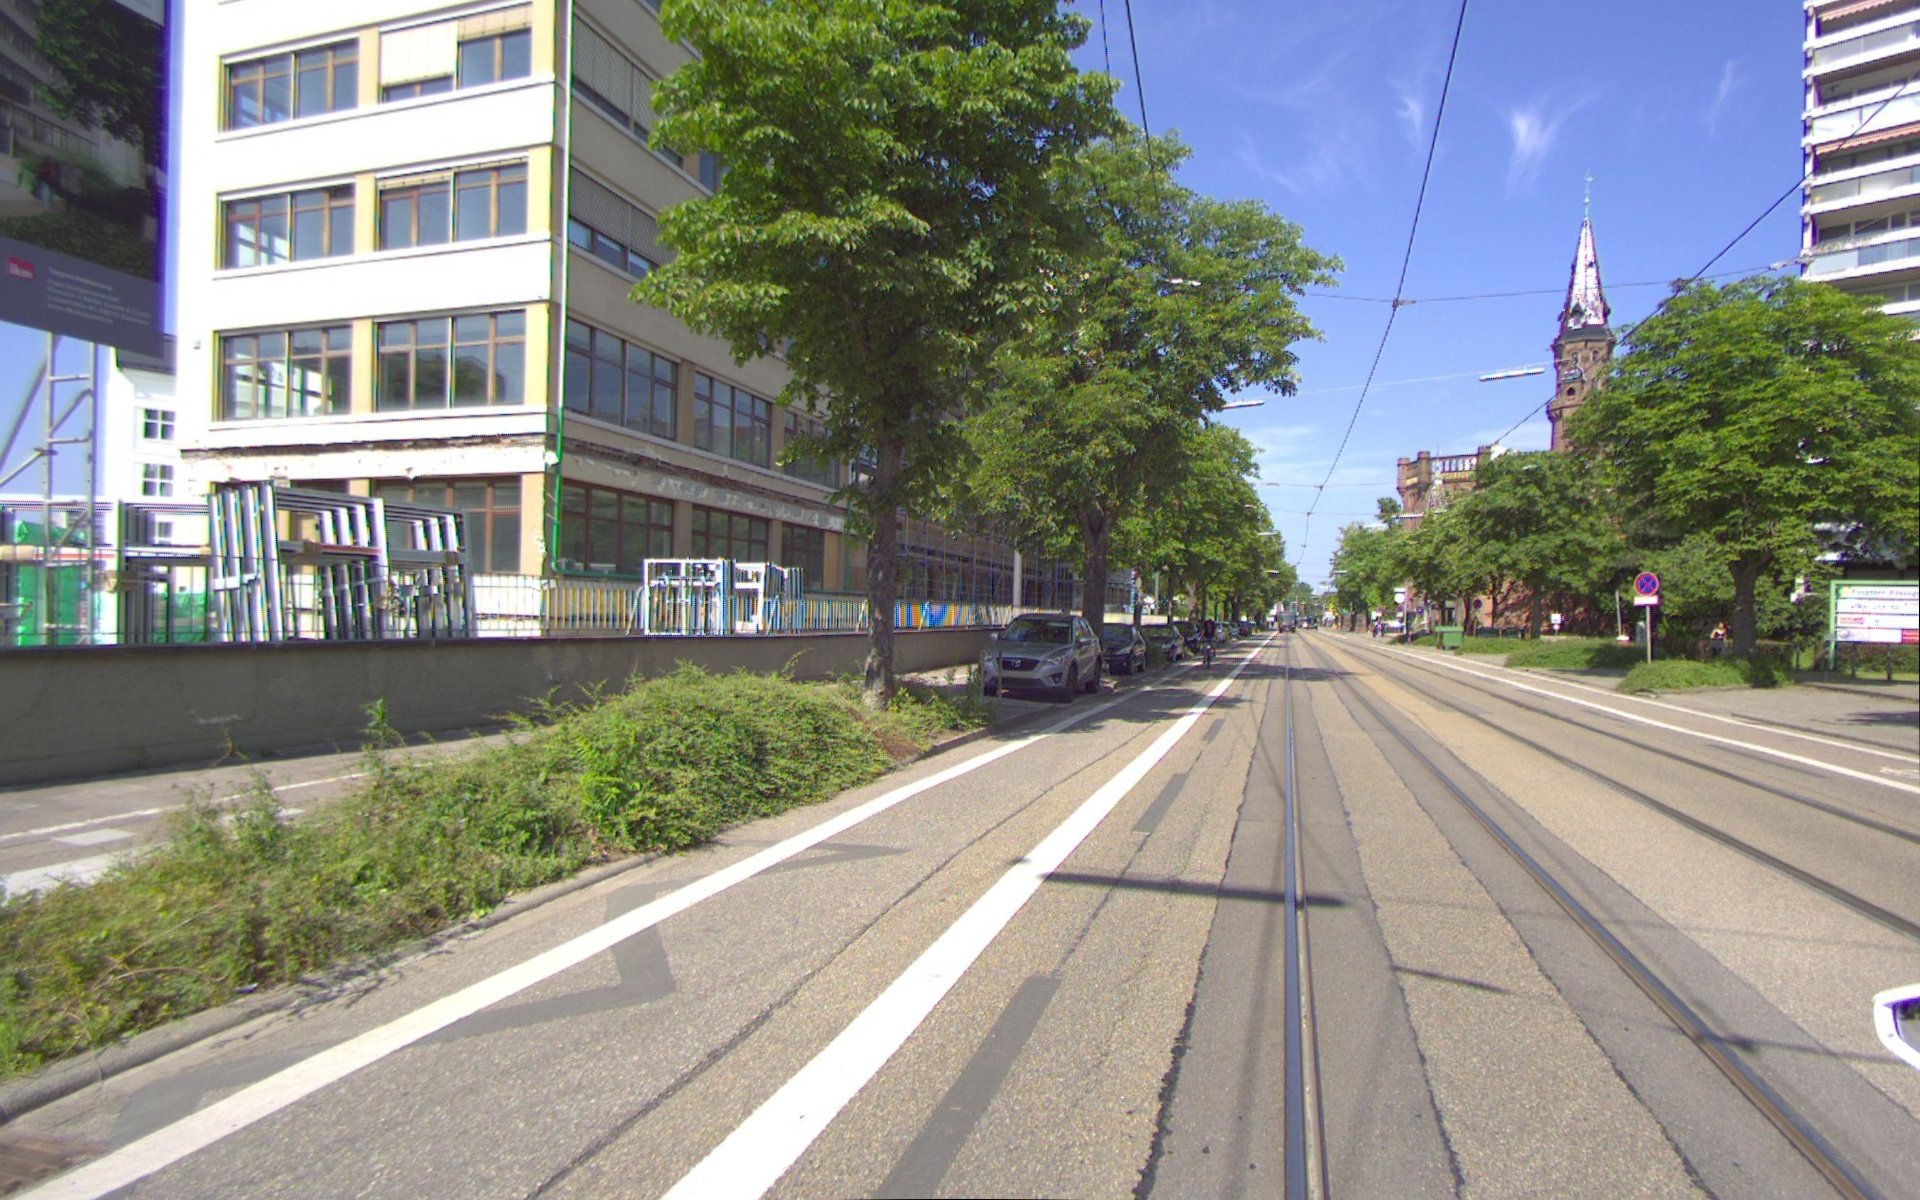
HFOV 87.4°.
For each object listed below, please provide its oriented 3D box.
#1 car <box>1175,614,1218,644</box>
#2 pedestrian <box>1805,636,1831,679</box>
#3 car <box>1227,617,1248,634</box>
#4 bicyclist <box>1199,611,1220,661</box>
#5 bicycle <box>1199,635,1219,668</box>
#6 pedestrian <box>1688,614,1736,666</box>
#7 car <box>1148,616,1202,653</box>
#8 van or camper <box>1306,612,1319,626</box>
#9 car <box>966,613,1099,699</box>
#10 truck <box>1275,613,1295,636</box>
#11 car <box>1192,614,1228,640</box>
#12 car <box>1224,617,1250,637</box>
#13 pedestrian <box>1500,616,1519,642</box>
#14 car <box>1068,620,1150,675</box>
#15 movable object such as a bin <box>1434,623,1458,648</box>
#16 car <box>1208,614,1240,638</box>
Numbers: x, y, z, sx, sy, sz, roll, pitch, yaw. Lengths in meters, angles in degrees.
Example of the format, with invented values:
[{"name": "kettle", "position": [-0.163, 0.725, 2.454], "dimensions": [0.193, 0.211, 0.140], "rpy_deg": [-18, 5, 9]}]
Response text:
[{"name": "car", "position": [13.878, 1.684, 58.847], "dimensions": [1.961, 1.662, 4.000], "rpy_deg": [2, 0, 20]}, {"name": "pedestrian", "position": [24.355, 1.624, 28.521], "dimensions": [0.526, 1.169, 0.698], "rpy_deg": [1, 0, 40]}, {"name": "car", "position": [28.492, 2.605, 103.059], "dimensions": [1.960, 1.662, 4.001], "rpy_deg": [2, 0, 18]}, {"name": "bicyclist", "position": [8.314, 1.202, 33.449], "dimensions": [0.619, 1.628, 0.702], "rpy_deg": [1, 0, 16]}, {"name": "bicycle", "position": [8.314, 1.701, 33.531], "dimensions": [0.585, 1.020, 1.487], "rpy_deg": [1, 0, 16]}, {"name": "pedestrian", "position": [27.686, 1.456, 37.010], "dimensions": [1.039, 1.822, 1.264], "rpy_deg": [3, 0, 22]}, {"name": "car", "position": [10.450, 1.646, 48.711], "dimensions": [1.961, 1.662, 4.000], "rpy_deg": [2, 0, 20]}, {"name": "van or camper", "position": [68.981, 3.747, 196.640], "dimensions": [2.009, 2.654, 5.864], "rpy_deg": [1, 0, 17]}, {"name": "car", "position": [1.600, 1.065, 20.544], "dimensions": [1.785, 1.514, 4.109], "rpy_deg": [1, -1, 18]}, {"name": "truck", "position": [45.079, 3.381, 139.066], "dimensions": [2.516, 2.977, 5.079], "rpy_deg": [2, 0, 19]}, {"name": "car", "position": [17.178, 1.824, 68.896], "dimensions": [1.961, 1.662, 4.000], "rpy_deg": [2, 0, 20]}, {"name": "car", "position": [24.940, 2.395, 90.439], "dimensions": [1.915, 1.662, 4.000], "rpy_deg": [2, 0, 20]}, {"name": "pedestrian", "position": [39.191, 2.051, 71.624], "dimensions": [1.040, 1.822, 1.263], "rpy_deg": [3, 0, 26]}, {"name": "car", "position": [4.472, 1.355, 29.693], "dimensions": [1.785, 1.472, 4.001], "rpy_deg": [1, -1, 18]}, {"name": "movable object such as a bin", "position": [30.267, 2.185, 62.552], "dimensions": [1.242, 1.473, 1.079], "rpy_deg": [2, 0, 24]}, {"name": "car", "position": [20.160, 1.971, 76.605], "dimensions": [1.961, 1.662, 4.000], "rpy_deg": [2, 0, 20]}]
